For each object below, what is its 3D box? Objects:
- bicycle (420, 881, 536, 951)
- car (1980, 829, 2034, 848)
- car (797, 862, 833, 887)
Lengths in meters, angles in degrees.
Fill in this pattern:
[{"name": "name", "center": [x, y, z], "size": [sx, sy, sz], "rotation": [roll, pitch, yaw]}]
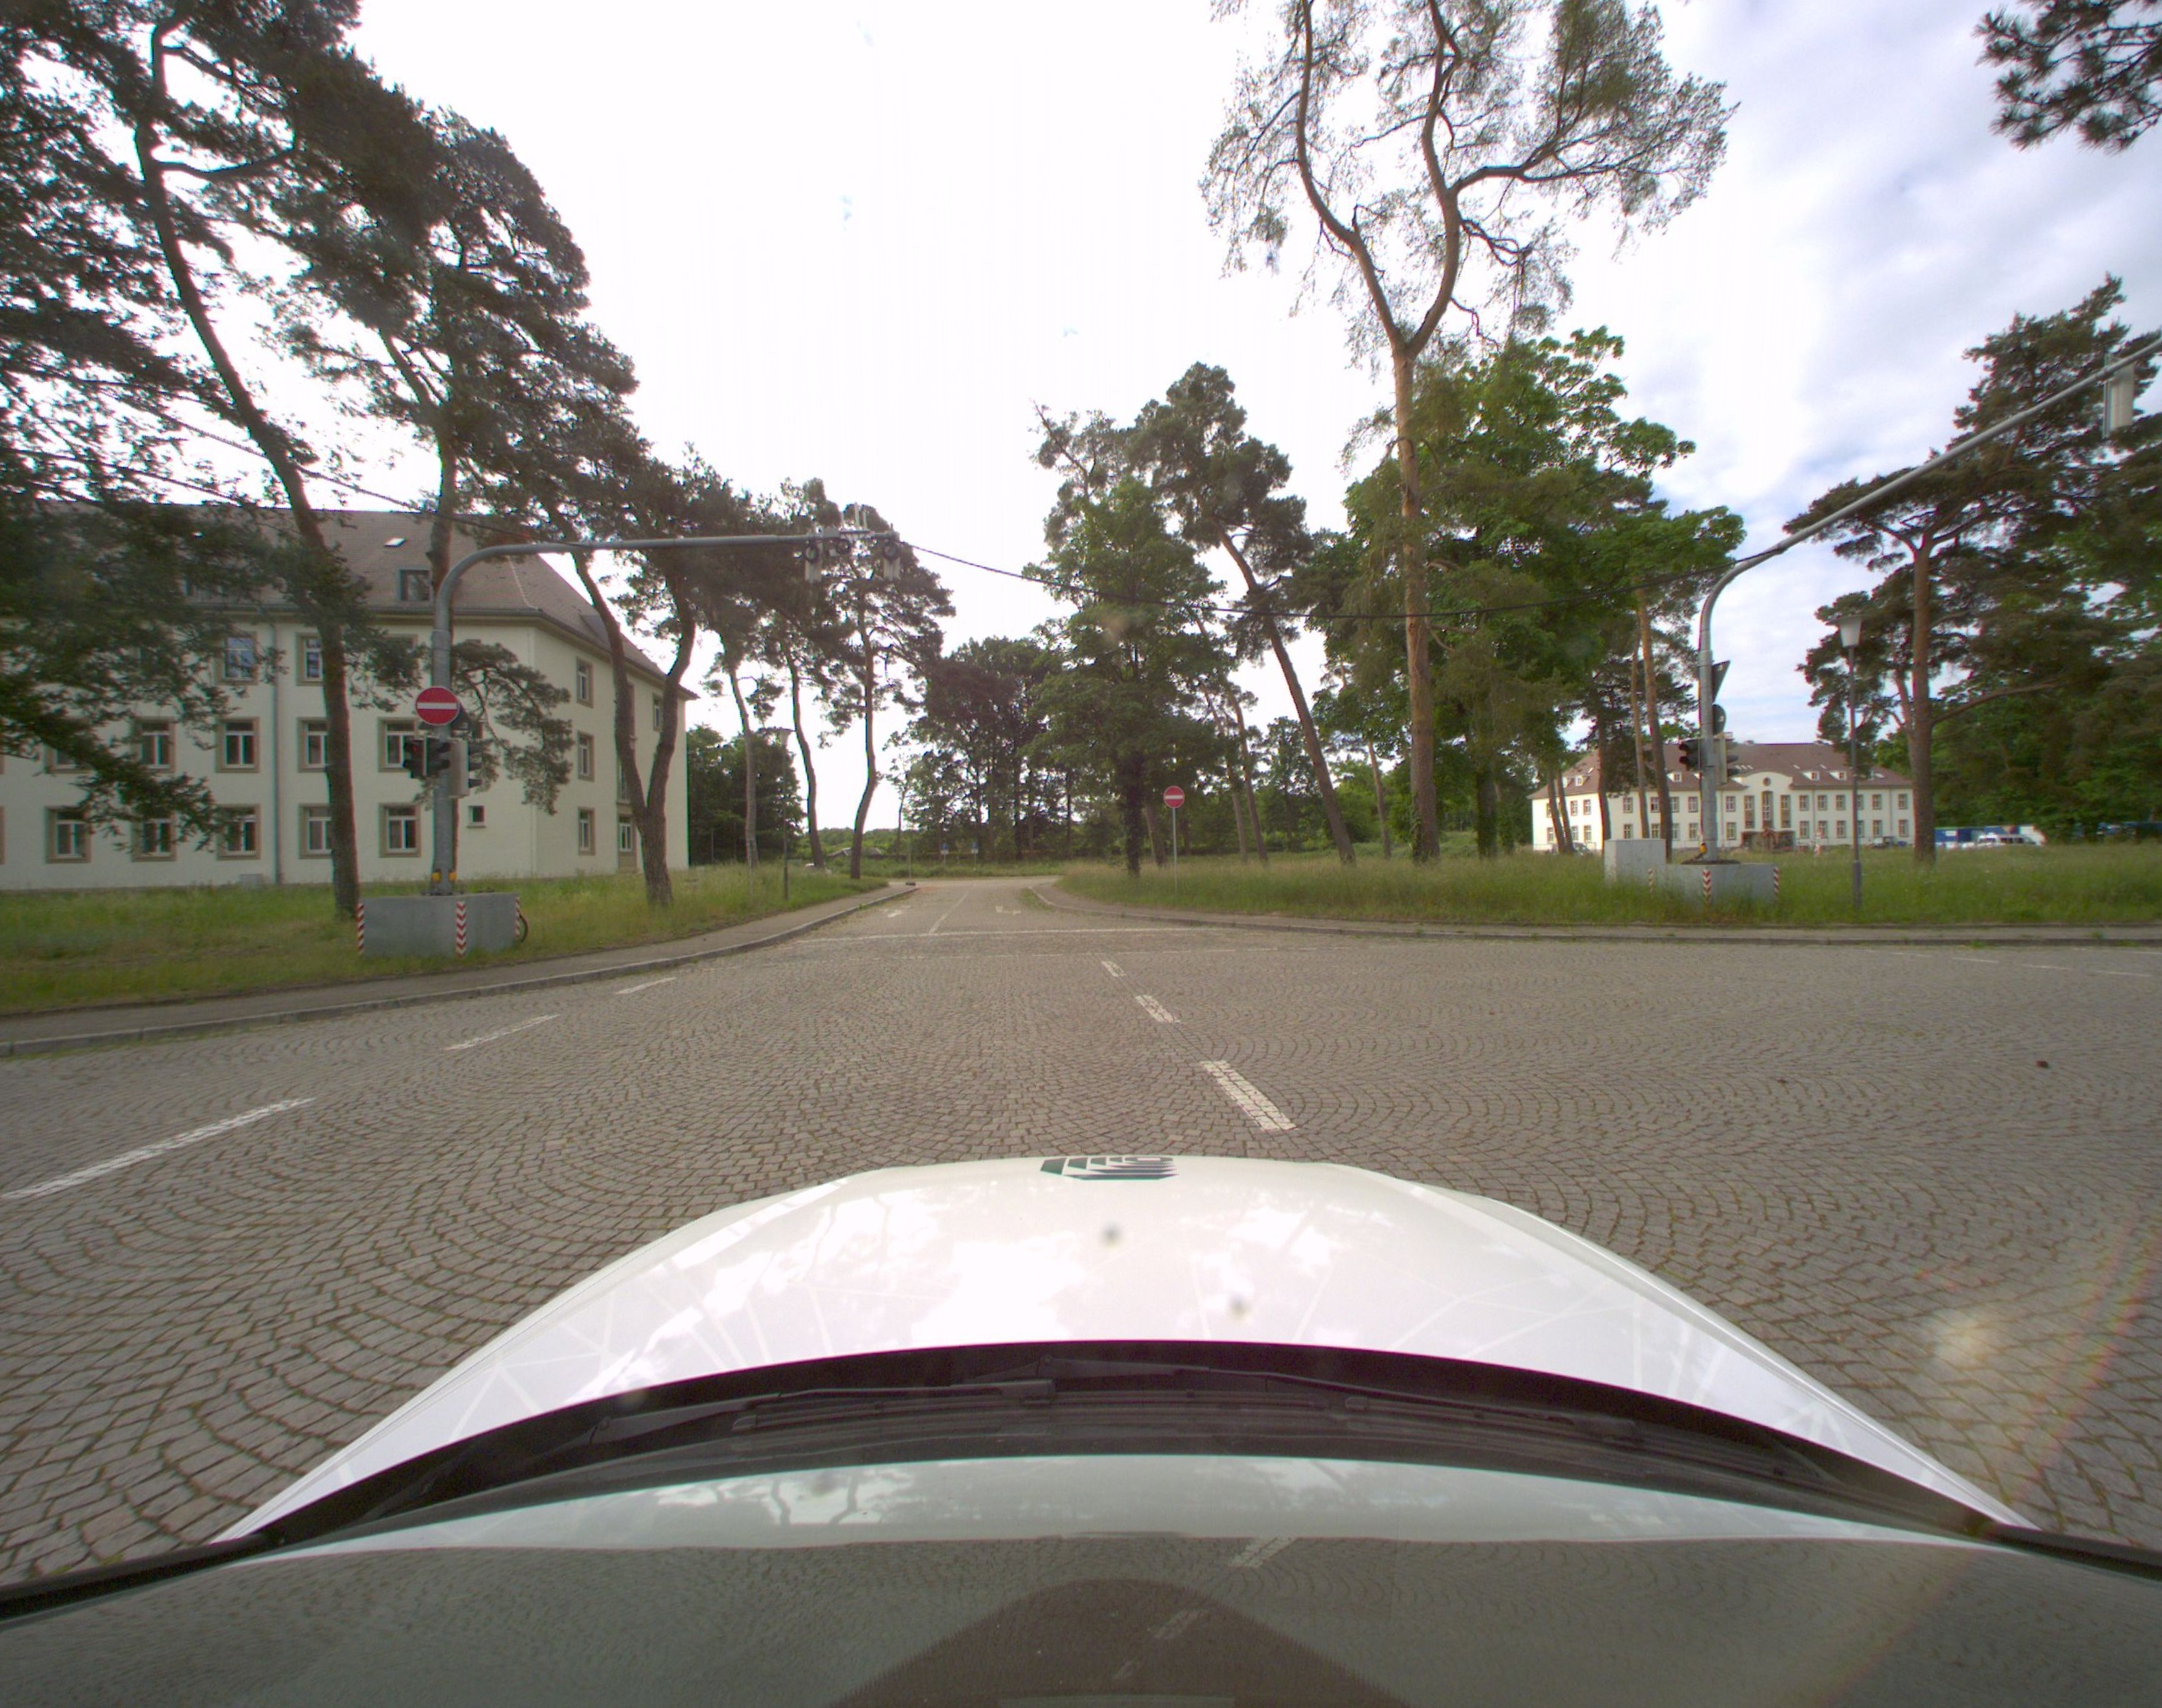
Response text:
[{"name": "bicycle", "center": [-10.120, 1.029, 13.710], "size": [1.463, 1.065, 0.515], "rotation": [-2, 1, -8]}, {"name": "car", "center": [99.617, -1.641, 87.624], "size": [4.058, 1.905, 1.923], "rotation": [0, -1, -8]}, {"name": "car", "center": [-20.482, 1.528, 62.824], "size": [1.993, 1.846, 3.988], "rotation": [0, 0, -9]}]
